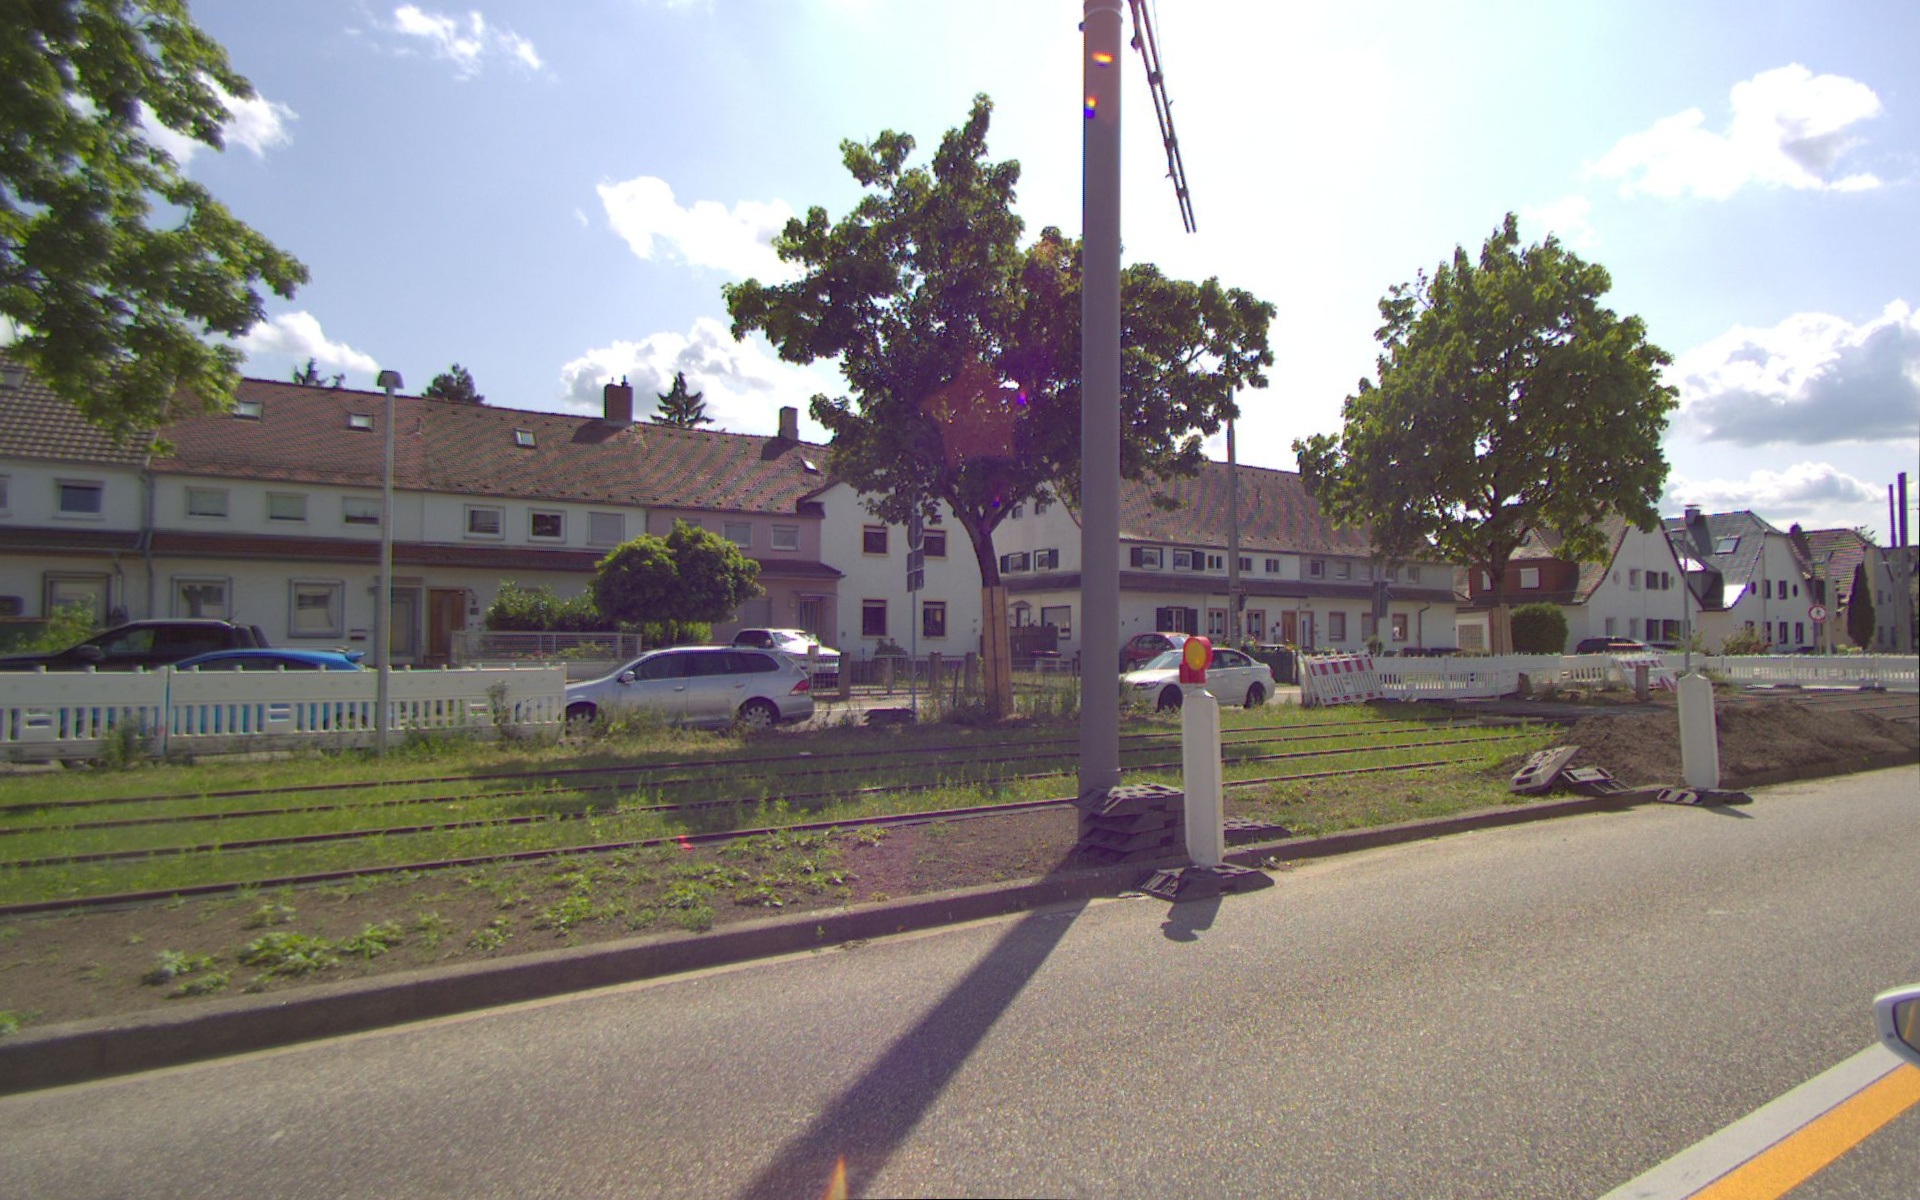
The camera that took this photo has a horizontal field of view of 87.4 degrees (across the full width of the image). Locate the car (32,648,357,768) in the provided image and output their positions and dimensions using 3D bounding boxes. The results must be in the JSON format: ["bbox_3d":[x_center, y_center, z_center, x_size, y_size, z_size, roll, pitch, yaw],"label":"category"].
[{"bbox_3d":[-9.574,1.298,12.840,3.137,1.342,1.332,2,-2,-34],"label":"car"}]

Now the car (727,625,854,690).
[{"bbox_3d":[-5.206,1.697,30.460,1.785,1.708,4.369,2,-1,-40],"label":"car"}]

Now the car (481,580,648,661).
[{"bbox_3d":[-10.859,0.585,27.592,3.955,2.040,1.983,2,-1,-32],"label":"car"}]

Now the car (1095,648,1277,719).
[{"bbox_3d":[5.010,1.755,21.997,4.212,1.395,1.530,2,-3,-37],"label":"car"}]

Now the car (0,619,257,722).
[{"bbox_3d":[-13.278,1.099,16.189,3.058,1.515,1.349,1,-2,-32],"label":"car"}]

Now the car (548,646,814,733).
[{"bbox_3d":[-4.266,1.307,15.502,3.705,1.192,1.495,1,-2,-31],"label":"car"}]

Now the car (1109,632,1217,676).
[{"bbox_3d":[7.464,1.989,37.314,1.706,1.529,3.966,1,-3,-31],"label":"car"}]
